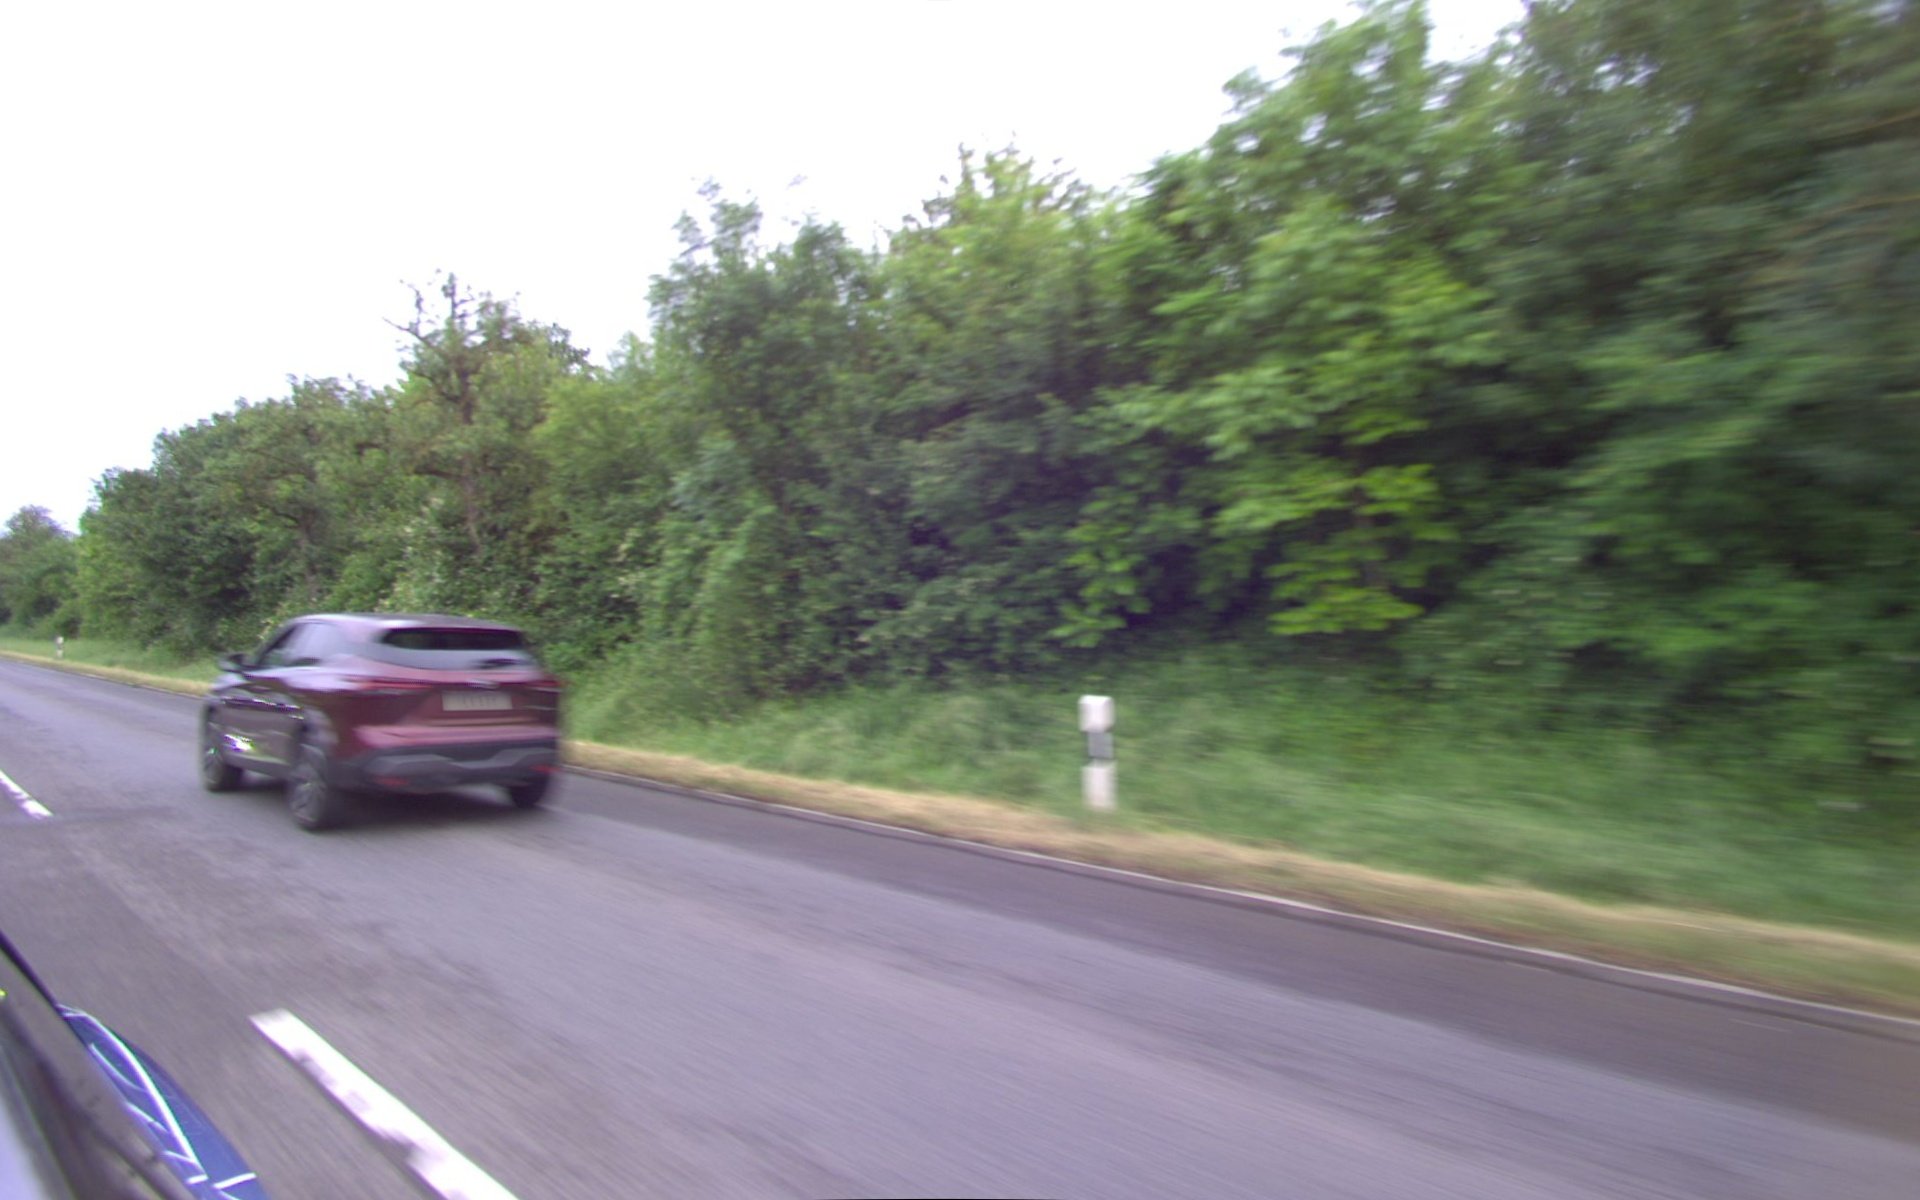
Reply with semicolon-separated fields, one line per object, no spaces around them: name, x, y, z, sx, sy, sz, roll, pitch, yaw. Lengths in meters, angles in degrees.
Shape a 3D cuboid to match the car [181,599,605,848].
car;-5.013;0.836;8.632;4.516;1.568;1.884;-1;-2;43
